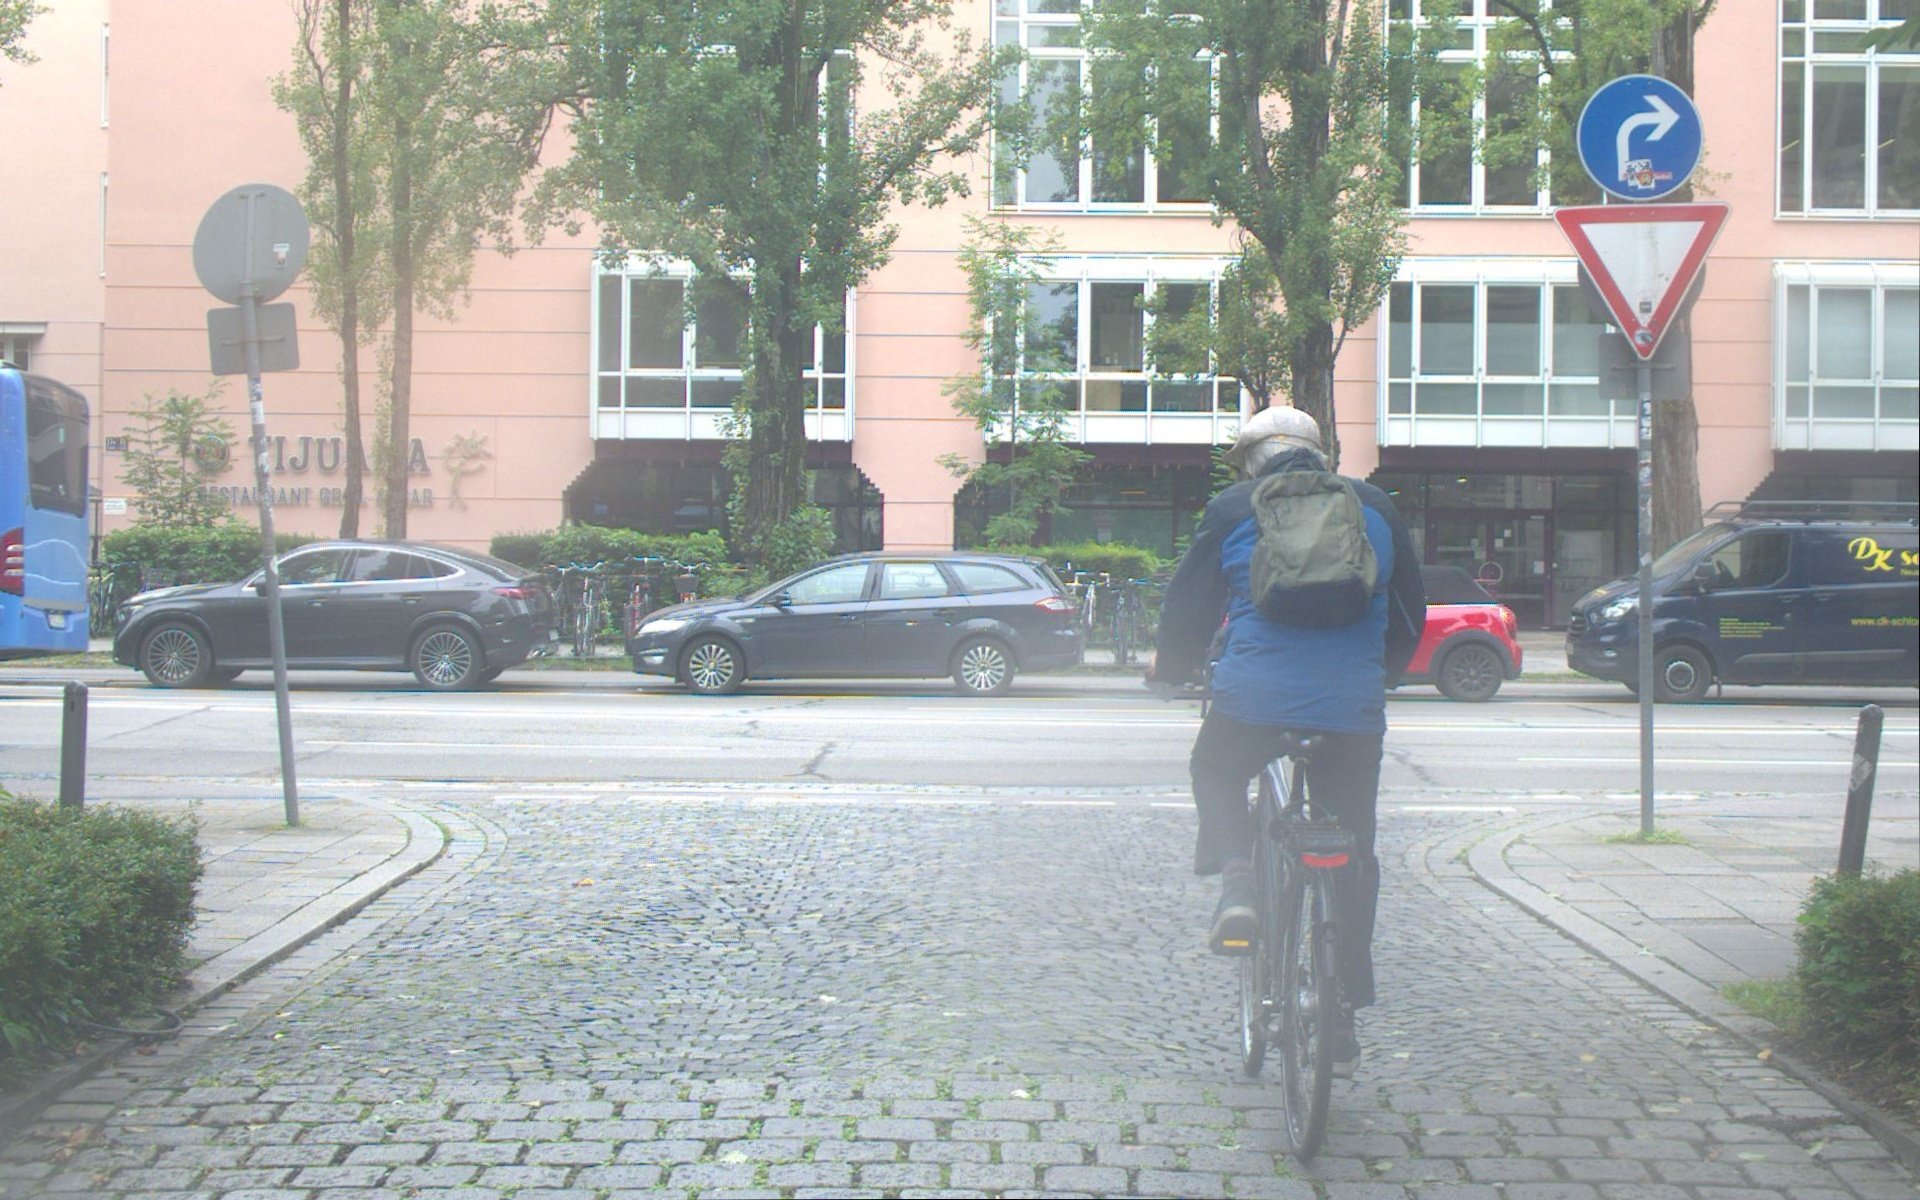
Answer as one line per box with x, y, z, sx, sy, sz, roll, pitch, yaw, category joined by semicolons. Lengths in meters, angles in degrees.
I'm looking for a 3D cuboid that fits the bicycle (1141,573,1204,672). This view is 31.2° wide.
2.503;0.258;40.673;0.674;1.120;1.742;0;1;2;bicycle

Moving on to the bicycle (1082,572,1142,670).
1.790;0.235;40.699;0.674;1.120;1.742;0;1;2;bicycle

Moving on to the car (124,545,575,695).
-6.506;0.193;36.938;4.500;1.523;1.793;1;1;1;car

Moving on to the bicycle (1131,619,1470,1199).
0.785;0.697;8.426;0.717;1.143;1.901;1;4;3;bicycle

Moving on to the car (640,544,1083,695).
-1.008;0.186;36.739;4.608;1.523;1.793;1;1;1;car

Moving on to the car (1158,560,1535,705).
4.050;0.325;36.409;3.861;1.444;1.678;1;1;4;car

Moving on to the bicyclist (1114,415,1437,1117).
0.759;0.375;8.332;0.722;1.614;0.756;1;1;5;bicyclist

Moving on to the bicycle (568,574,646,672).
-4.223;0.261;41.267;0.674;1.120;1.989;0;1;2;bicycle

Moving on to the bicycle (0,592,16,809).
-5.144;0.514;16.698;0.490;1.089;1.703;1;1;6;bicycle

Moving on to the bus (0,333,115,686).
-12.276;-0.826;31.176;8.489;3.041;2.927;0;1;1;bus

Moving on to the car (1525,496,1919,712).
8.908;0.030;36.542;5.479;2.189;2.024;1;1;1;car

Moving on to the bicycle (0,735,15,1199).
-2.741;0.831;6.485;1.757;1.139;0.554;0;1;-30;bicycle
